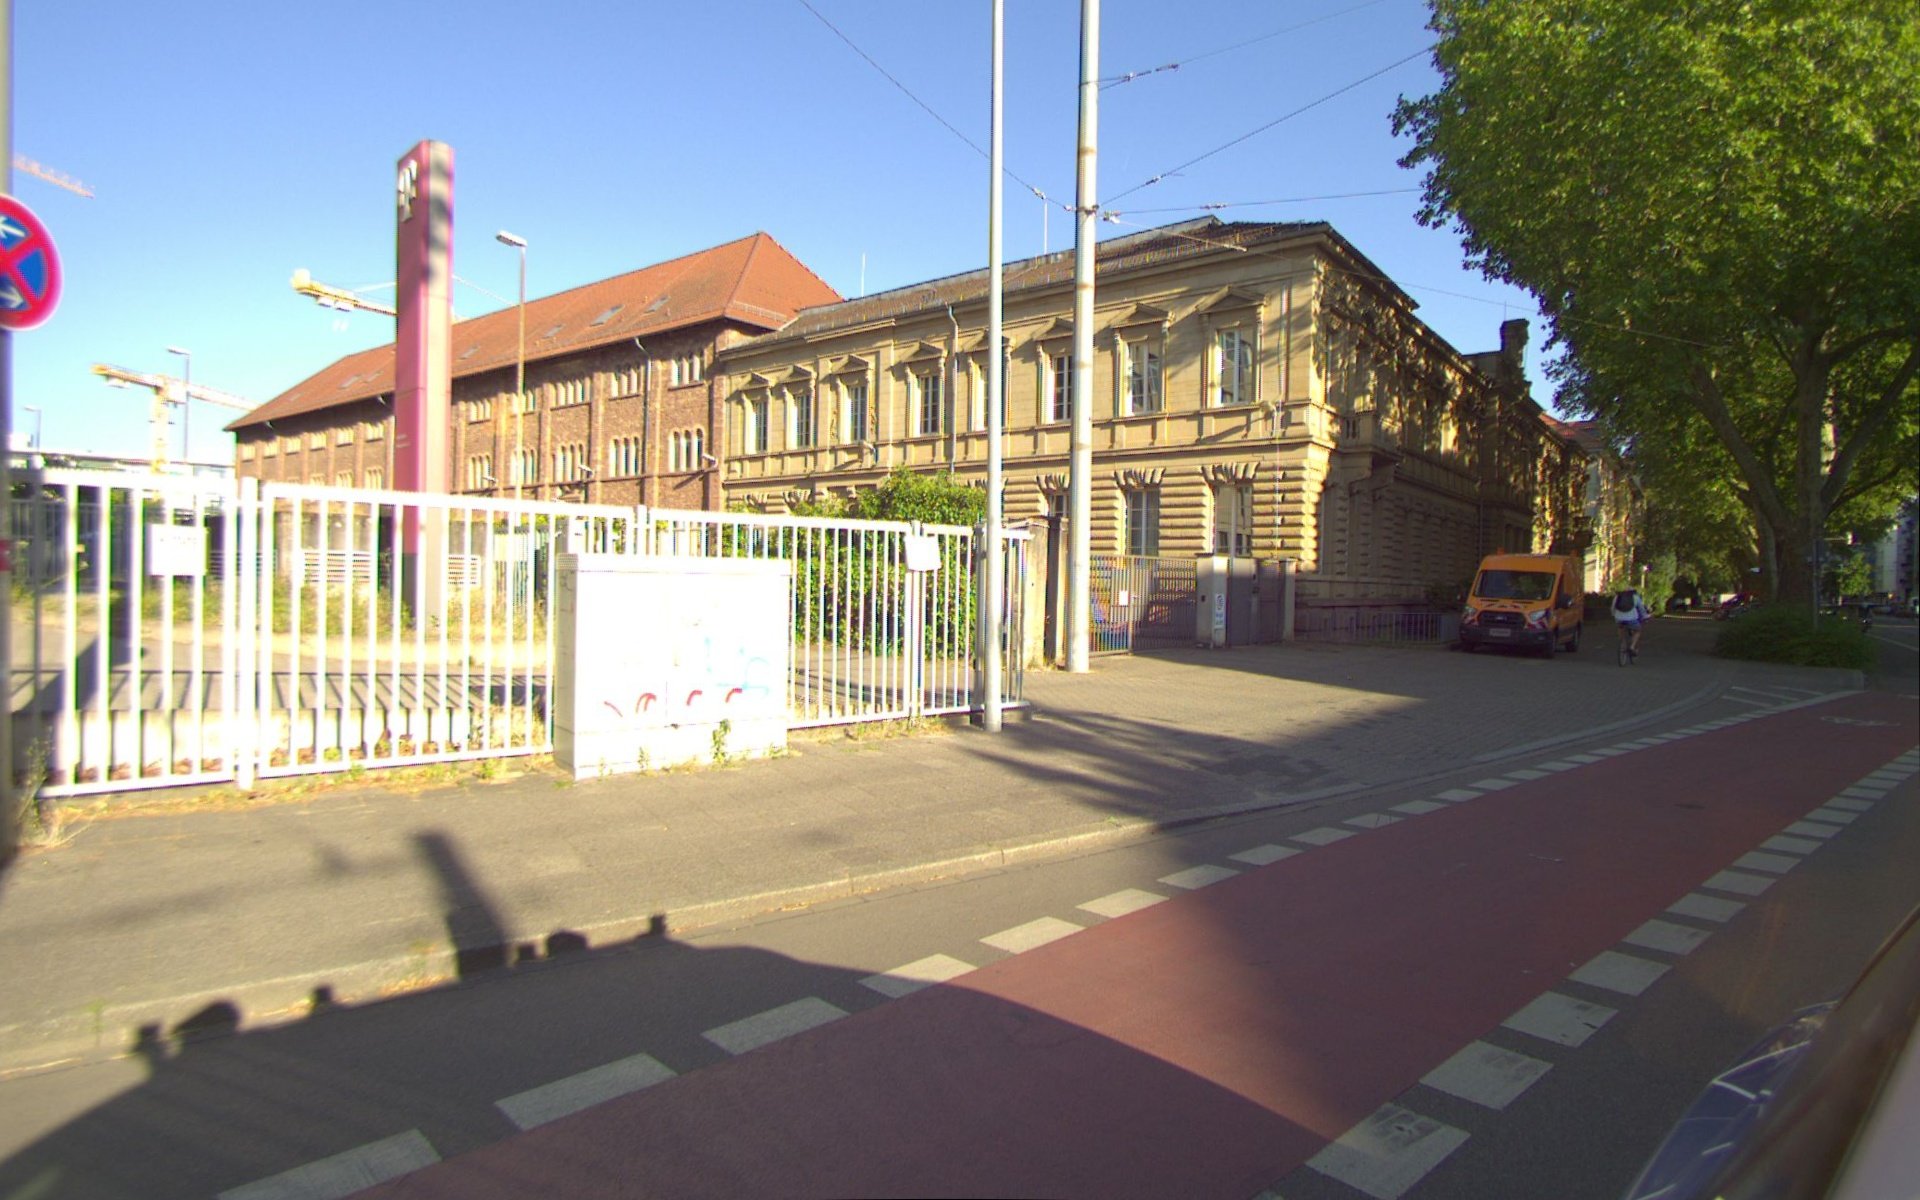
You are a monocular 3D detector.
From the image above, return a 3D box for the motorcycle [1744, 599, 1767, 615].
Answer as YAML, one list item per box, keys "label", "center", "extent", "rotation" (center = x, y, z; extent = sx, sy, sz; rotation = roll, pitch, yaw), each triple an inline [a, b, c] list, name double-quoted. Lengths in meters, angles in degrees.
- label: "motorcycle"
  center: [54.422, 0.501, 69.239]
  extent: [1.248, 1.067, 0.395]
  rotation: [1, 1, 2]

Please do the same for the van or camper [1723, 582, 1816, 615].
- label: "van or camper"
  center: [67.404, -0.161, 84.435]
  extent: [5.899, 2.528, 2.192]
  rotation: [2, 4, 37]

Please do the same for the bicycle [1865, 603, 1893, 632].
- label: "bicycle"
  center: [38.766, 0.723, 42.693]
  extent: [0.712, 1.152, 2.090]
  rotation: [2, 1, 39]

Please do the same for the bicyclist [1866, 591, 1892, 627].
- label: "bicyclist"
  center: [38.824, 0.372, 42.763]
  extent: [0.712, 1.461, 0.940]
  rotation: [2, 1, 40]

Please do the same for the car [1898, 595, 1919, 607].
- label: "car"
  center: [129.227, 0.137, 137.852]
  extent: [1.799, 1.563, 3.865]
  rotation: [-1, 0, 38]

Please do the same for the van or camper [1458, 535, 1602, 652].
- label: "van or camper"
  center: [14.251, -0.184, 25.103]
  extent: [2.034, 2.591, 5.688]
  rotation: [2, 1, 40]

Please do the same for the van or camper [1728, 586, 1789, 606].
- label: "van or camper"
  center: [103.633, -0.563, 131.451]
  extent: [6.075, 2.461, 2.393]
  rotation: [2, 1, 40]

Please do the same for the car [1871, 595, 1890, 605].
- label: "car"
  center: [144.597, -0.040, 159.003]
  extent: [1.798, 1.563, 3.868]
  rotation: [-1, 0, 36]

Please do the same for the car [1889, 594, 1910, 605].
- label: "car"
  center: [135.596, -0.009, 146.071]
  extent: [1.798, 1.563, 3.868]
  rotation: [-1, 0, 36]

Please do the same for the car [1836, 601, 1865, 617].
- label: "car"
  center: [83.314, 0.821, 94.689]
  extent: [1.731, 1.390, 3.865]
  rotation: [-1, 0, 38]

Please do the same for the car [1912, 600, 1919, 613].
- label: "car"
  center: [117.049, 0.777, 122.807]
  extent: [1.799, 1.563, 3.865]
  rotation: [-1, 0, 38]

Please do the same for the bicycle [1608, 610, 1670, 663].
- label: "bicycle"
  center: [14.910, 0.775, 22.216]
  extent: [1.869, 1.044, 0.676]
  rotation: [0, 4, -43]

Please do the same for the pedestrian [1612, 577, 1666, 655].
- label: "pedestrian"
  center: [14.868, 0.337, 22.151]
  extent: [1.083, 1.639, 0.671]
  rotation: [0, 3, -43]

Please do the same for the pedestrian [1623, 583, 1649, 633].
- label: "pedestrian"
  center: [24.405, 0.284, 36.533]
  extent: [0.649, 1.757, 0.993]
  rotation: [2, 1, 39]
